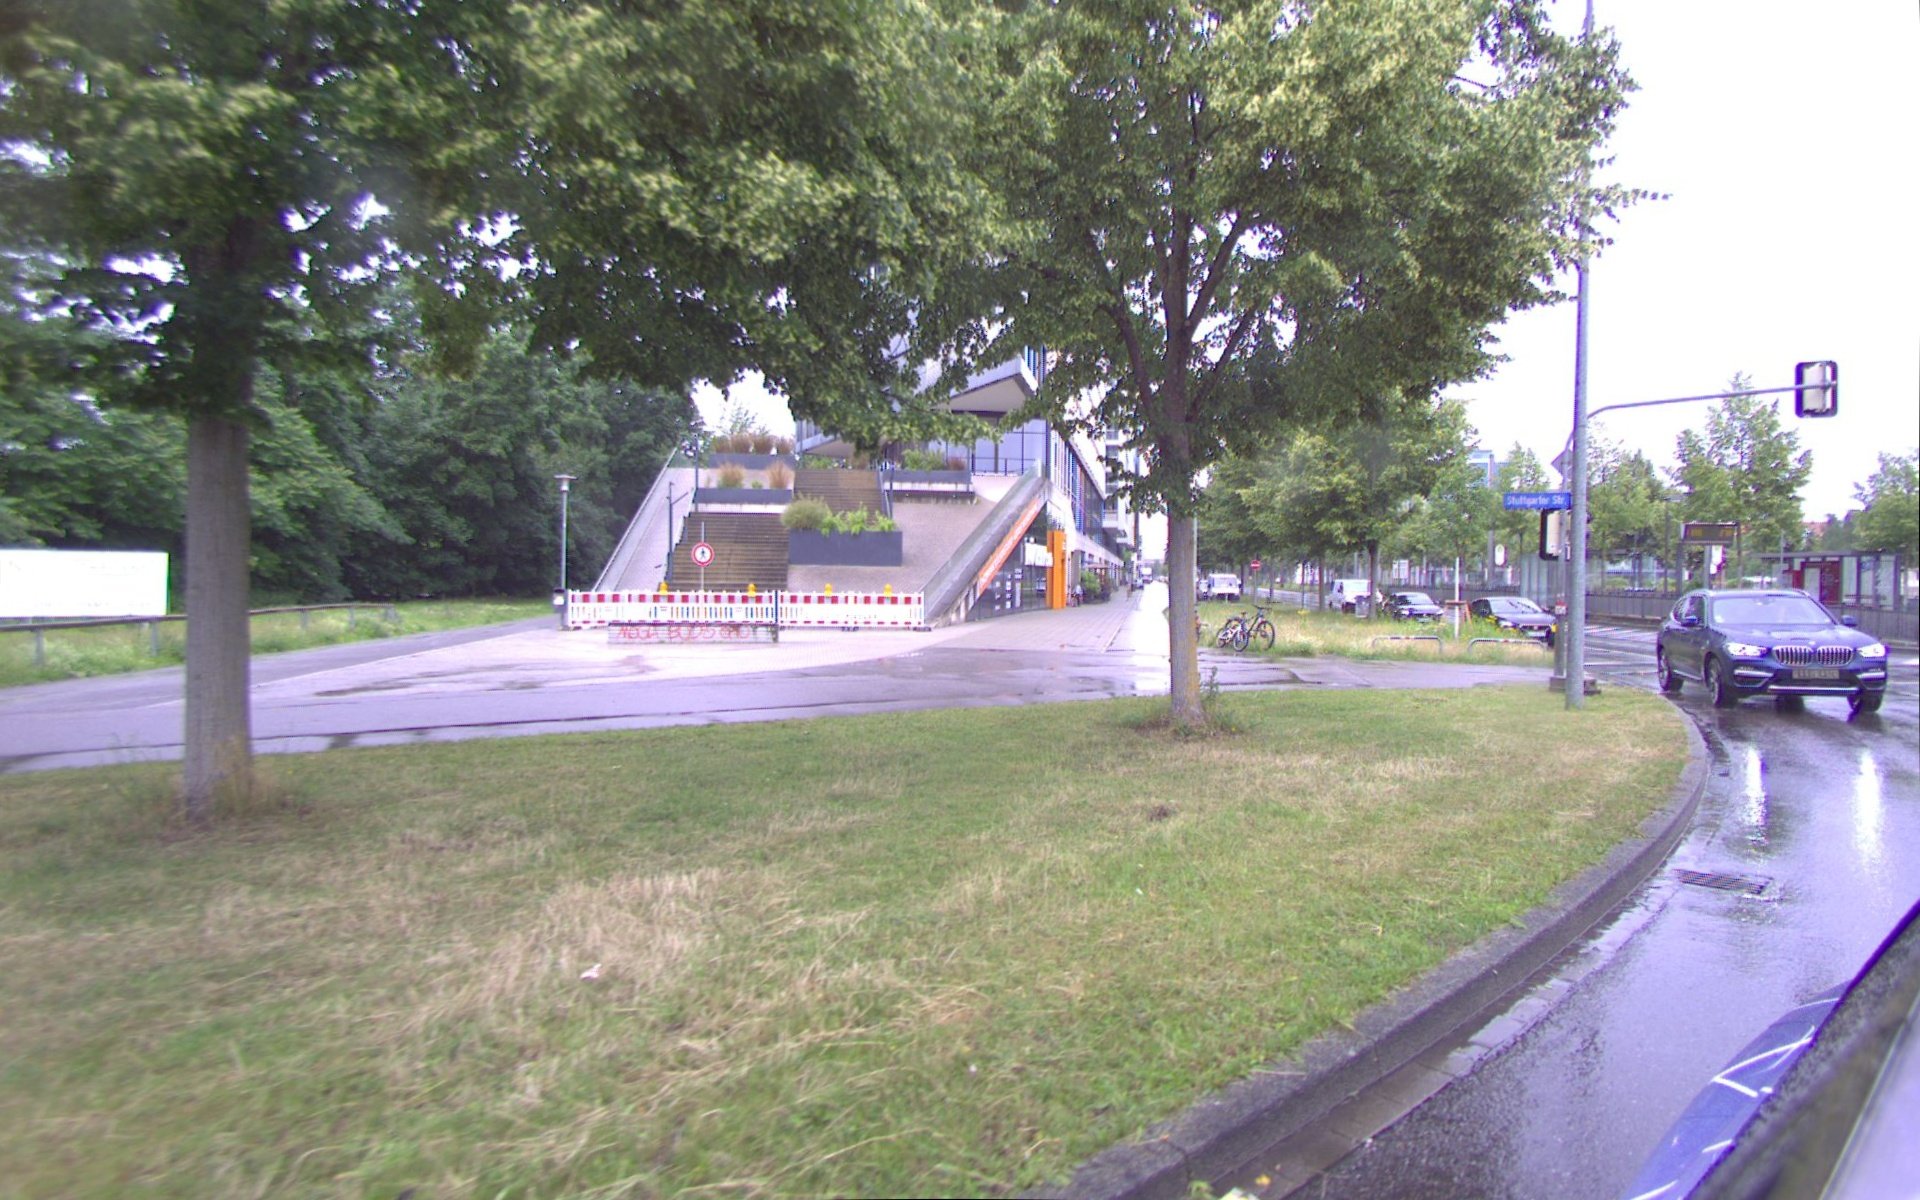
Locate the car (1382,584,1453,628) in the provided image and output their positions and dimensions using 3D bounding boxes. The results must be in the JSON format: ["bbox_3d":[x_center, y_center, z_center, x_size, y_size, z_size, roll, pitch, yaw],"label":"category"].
[{"bbox_3d":[18.710,0.208,41.547,1.761,1.668,3.987,-2,1,12],"label":"car"}]

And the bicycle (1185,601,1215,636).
[{"bbox_3d":[6.285,0.462,26.581,0.626,0.857,2.158,0,1,9],"label":"bicycle"}]

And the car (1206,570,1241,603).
[{"bbox_3d":[18.647,-0.974,71.806,2.054,2.229,5.080,-2,1,12],"label":"car"}]

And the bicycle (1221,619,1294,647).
[{"bbox_3d":[6.893,0.752,23.533,0.315,0.566,1.802,0,1,-36],"label":"bicycle"}]

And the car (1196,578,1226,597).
[{"bbox_3d":[21.699,-1.126,87.567,1.966,1.571,3.993,-2,1,7],"label":"car"}]

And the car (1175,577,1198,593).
[{"bbox_3d":[24.576,-1.634,109.941,1.966,1.571,3.993,-2,1,7],"label":"car"}]

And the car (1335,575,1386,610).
[{"bbox_3d":[20.946,-0.422,53.041,1.761,1.668,3.987,-2,1,12],"label":"car"}]

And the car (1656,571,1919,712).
[{"bbox_3d":[12.072,0.484,15.114,1.896,1.768,4.349,-1,1,24],"label":"car"}]

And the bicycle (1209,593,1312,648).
[{"bbox_3d":[7.006,0.443,23.728,0.543,1.204,2.524,0,1,-36],"label":"bicycle"}]

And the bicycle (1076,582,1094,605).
[{"bbox_3d":[7.634,-0.404,61.793,0.869,1.364,2.688,-2,1,12],"label":"bicycle"}]

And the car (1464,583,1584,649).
[{"bbox_3d":[16.801,0.413,30.400,1.888,1.768,4.368,-2,1,12],"label":"car"}]

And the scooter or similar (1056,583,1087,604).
[{"bbox_3d":[6.441,-0.371,58.422,0.805,1.113,2.588,-1,1,29],"label":"scooter or similar"}]

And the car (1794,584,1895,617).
[{"bbox_3d":[44.749,-0.002,51.330,1.822,1.504,4.216,-2,1,9],"label":"car"}]
